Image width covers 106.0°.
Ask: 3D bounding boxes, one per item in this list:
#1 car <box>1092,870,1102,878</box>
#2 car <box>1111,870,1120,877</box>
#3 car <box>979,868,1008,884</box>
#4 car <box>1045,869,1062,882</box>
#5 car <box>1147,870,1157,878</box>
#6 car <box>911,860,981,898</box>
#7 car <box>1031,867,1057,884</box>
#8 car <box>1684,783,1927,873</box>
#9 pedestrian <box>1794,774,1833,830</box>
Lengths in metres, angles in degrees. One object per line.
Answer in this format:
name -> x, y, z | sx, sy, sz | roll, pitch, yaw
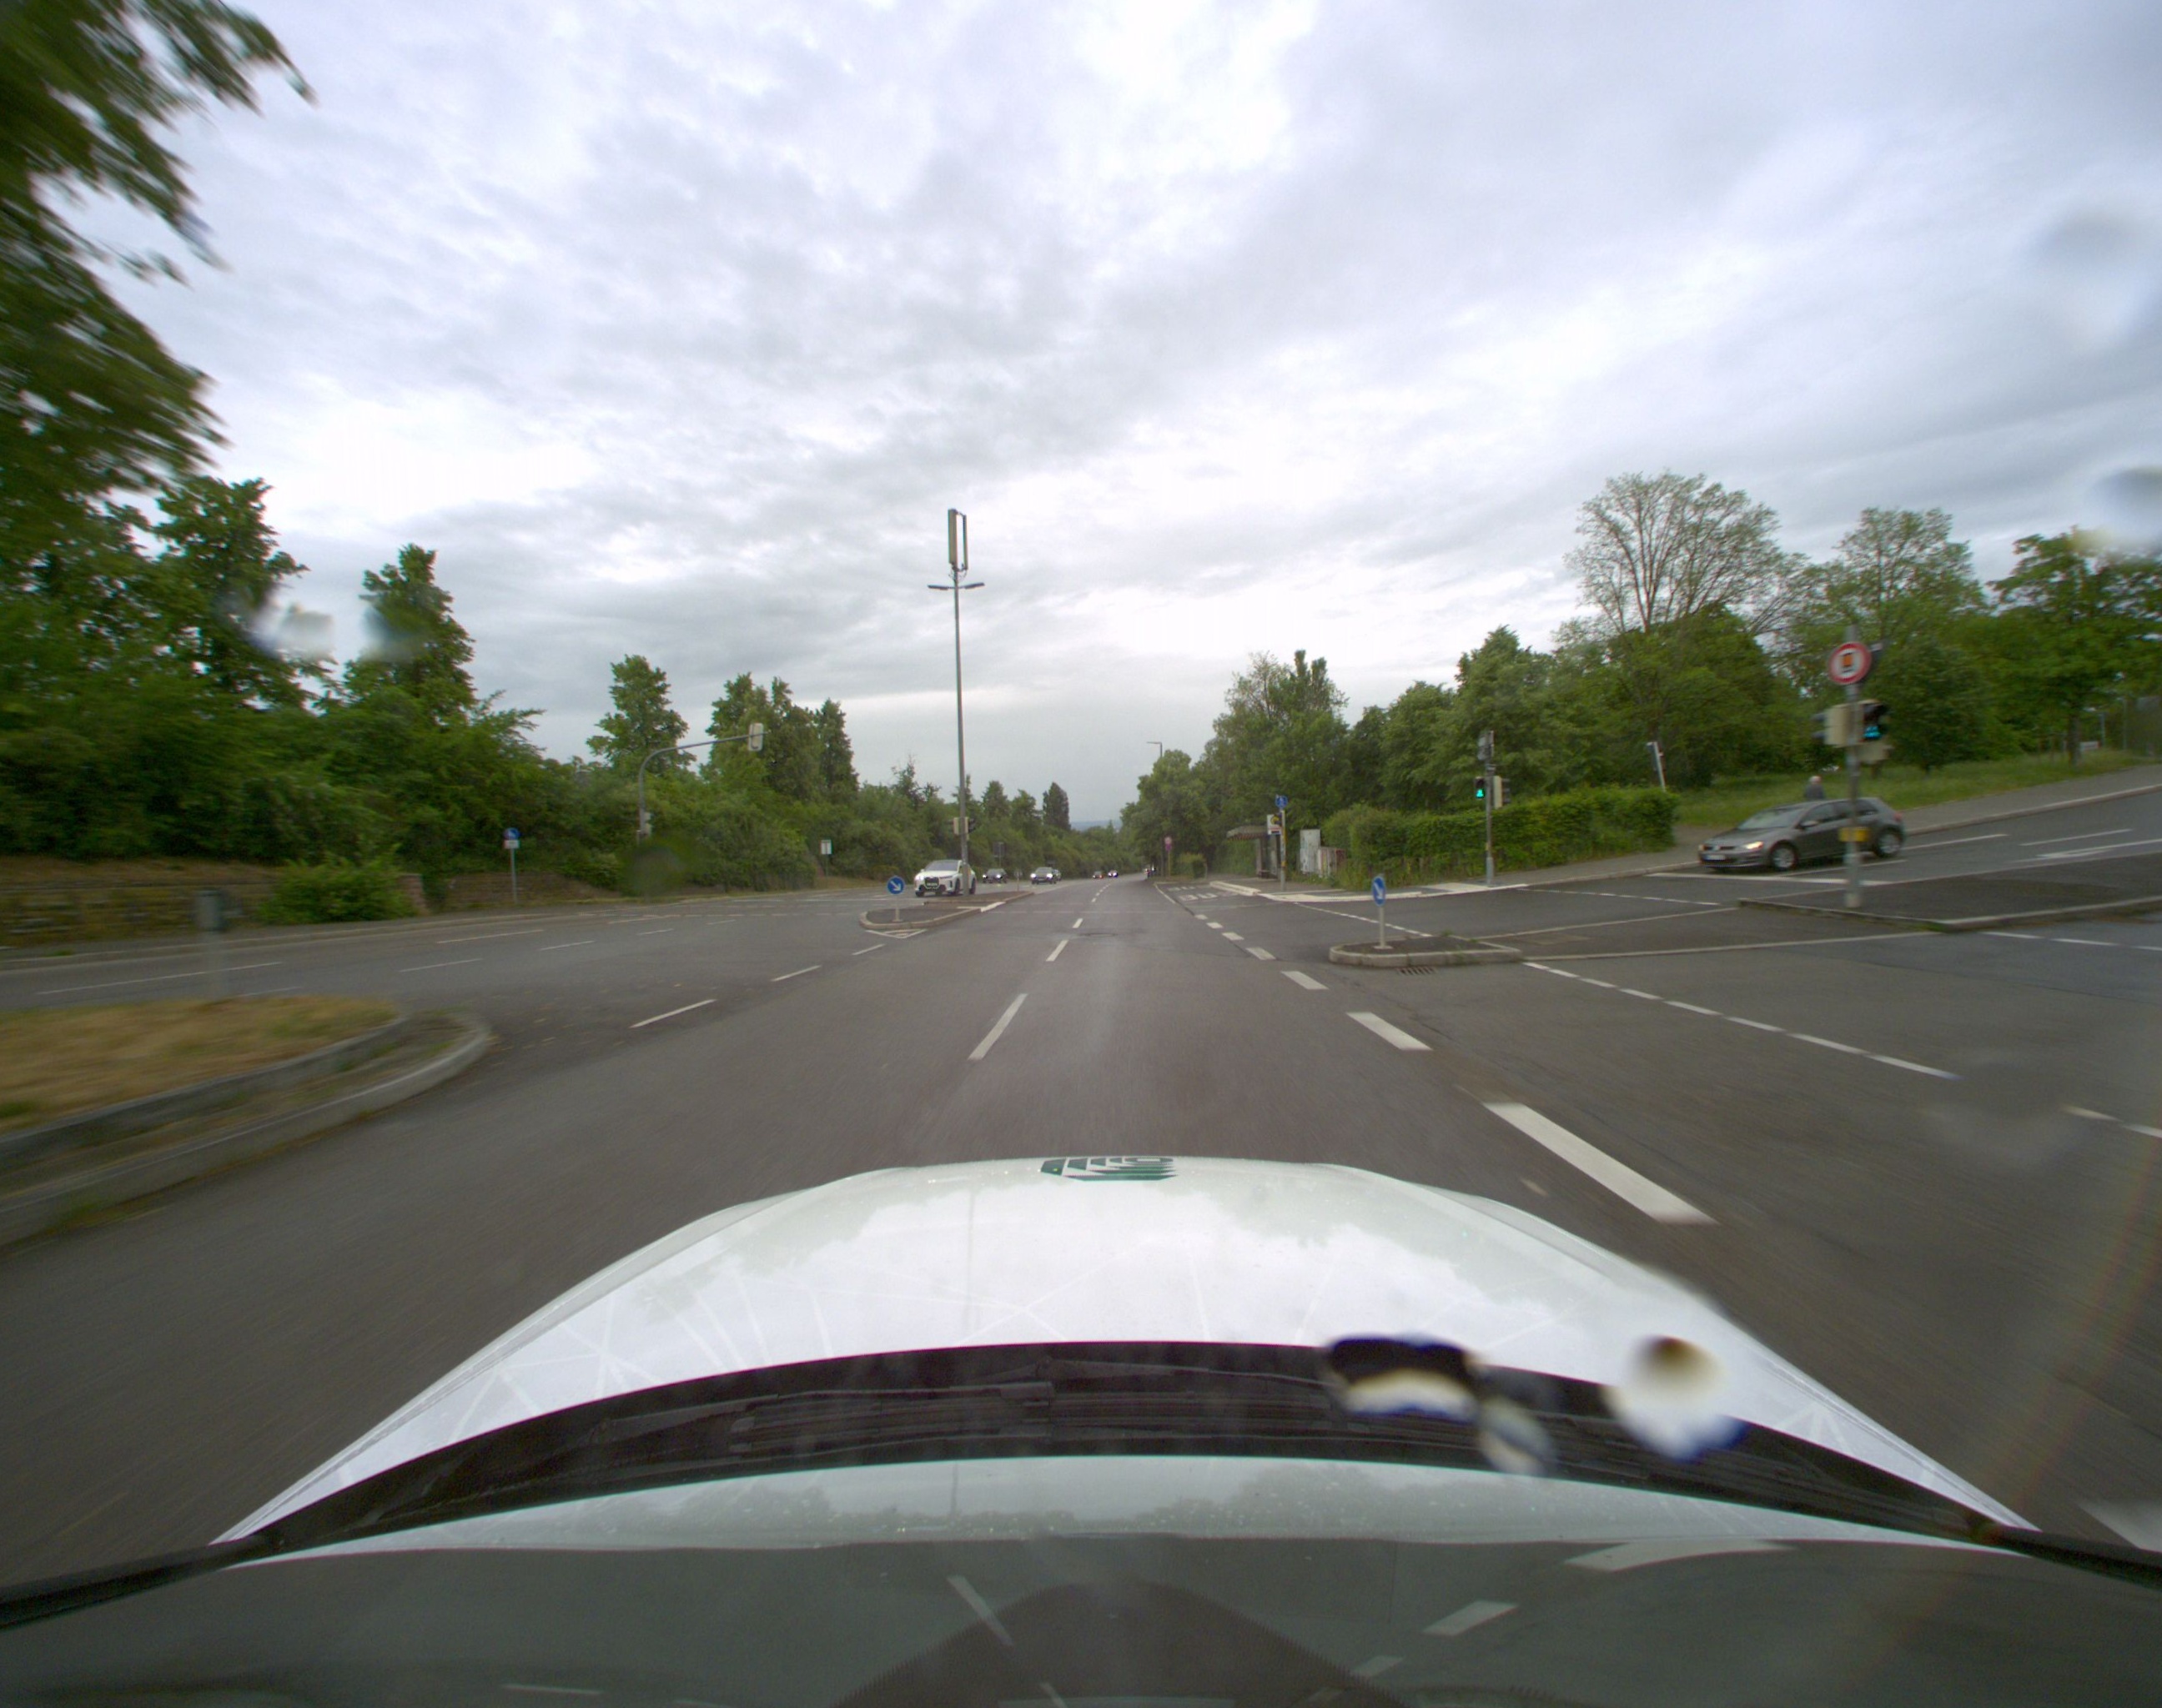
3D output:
car -> 3.259, 4.050, 162.533 | 1.717, 1.565, 3.896 | 1, -1, 4
car -> 7.787, 4.489, 184.814 | 1.855, 1.590, 3.899 | 1, -1, 6
car -> -8.443, 2.110, 78.920 | 1.810, 1.438, 4.461 | -1, -1, 6
car -> -3.784, 2.966, 112.080 | 1.715, 1.591, 4.006 | -1, 0, 6
car -> 15.698, 4.372, 179.735 | 1.933, 1.591, 3.938 | -1, 0, 9
car -> -6.394, 1.135, 39.199 | 1.935, 1.635, 5.015 | -1, 0, 7
car -> -3.221, 1.878, 71.648 | 1.770, 1.472, 4.650 | -1, -1, 4
car -> 16.716, -0.565, 18.902 | 4.070, 1.453, 1.886 | -8, 0, -6
pedestrian -> 21.450, -1.519, 23.855 | 0.475, 1.583, 0.684 | -3, 0, -30
